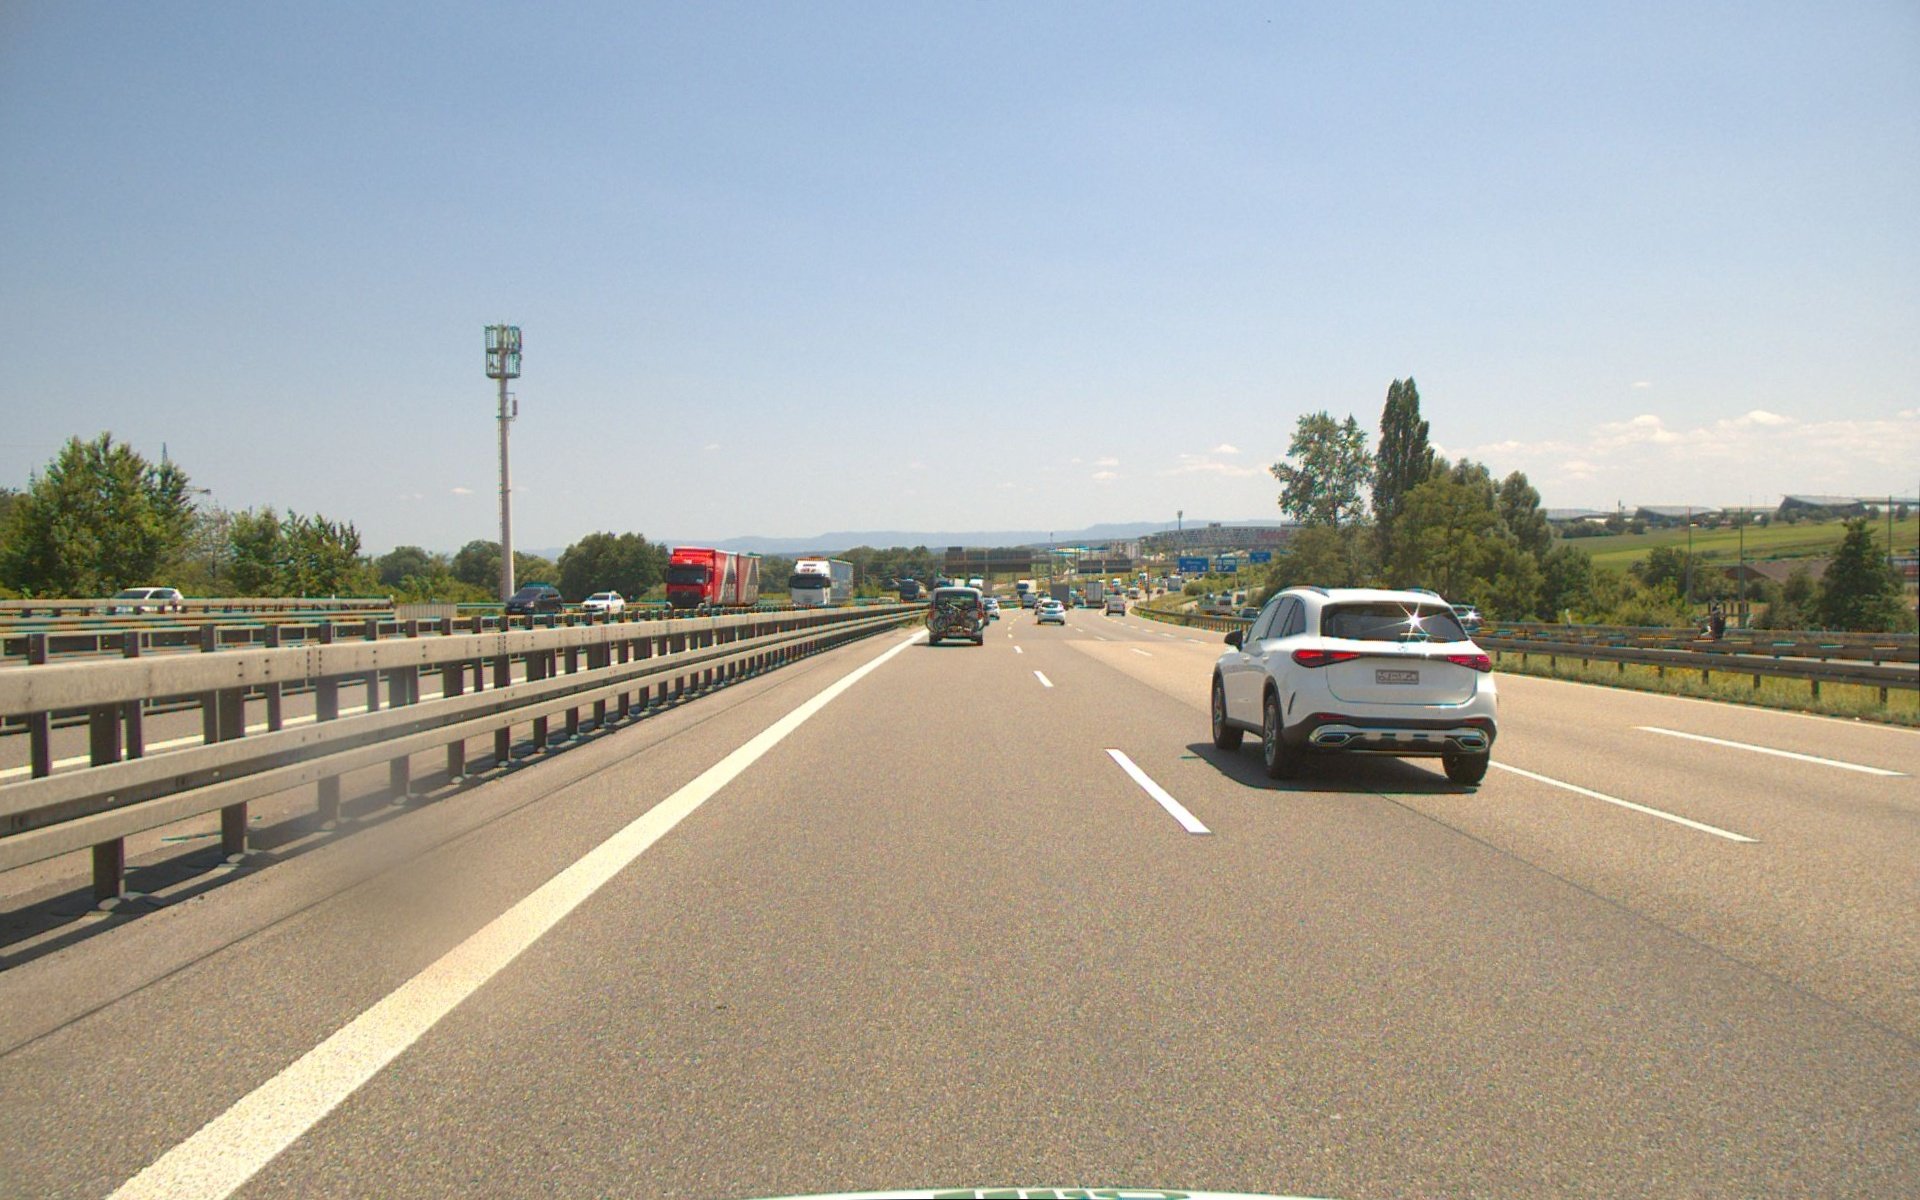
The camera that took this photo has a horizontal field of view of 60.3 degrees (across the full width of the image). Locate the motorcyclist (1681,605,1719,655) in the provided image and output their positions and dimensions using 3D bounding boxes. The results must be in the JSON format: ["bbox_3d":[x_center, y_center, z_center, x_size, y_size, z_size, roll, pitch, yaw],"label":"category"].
[{"bbox_3d":[20.966,0.841,46.888,0.655,1.390,0.878,1,0,-2],"label":"motorcyclist"}]

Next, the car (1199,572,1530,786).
[{"bbox_3d":[3.605,0.639,15.745,1.859,1.676,4.998,1,0,-1],"label":"car"}]

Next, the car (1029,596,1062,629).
[{"bbox_3d":[5.255,0.767,102.466,1.887,1.952,4.518,1,0,1],"label":"car"}]

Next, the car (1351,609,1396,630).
[{"bbox_3d":[25.986,1.213,104.047,1.666,1.299,3.997,1,0,-3],"label":"car"}]

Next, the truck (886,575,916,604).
[{"bbox_3d":[-8.286,-1.483,233.909,3.152,3.852,12.905,1,0,2],"label":"truck"}]

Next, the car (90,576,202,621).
[{"bbox_3d":[-31.882,-0.050,64.933,1.829,1.646,4.392,1,0,6],"label":"car"}]

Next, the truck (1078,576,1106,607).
[{"bbox_3d":[20.451,-1.431,256.653,3.954,4.335,11.765,1,2,3],"label":"truck"}]

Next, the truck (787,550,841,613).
[{"bbox_3d":[-10.659,-1.309,121.099,2.866,4.420,6.918,1,0,3],"label":"truck"}]

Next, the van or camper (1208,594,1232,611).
[{"bbox_3d":[33.246,0.351,211.464,2.476,2.049,4.462,1,0,3],"label":"van or camper"}]

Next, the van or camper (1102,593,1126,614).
[{"bbox_3d":[15.440,0.320,165.640,2.111,2.049,4.305,1,0,2],"label":"van or camper"}]

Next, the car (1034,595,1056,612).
[{"bbox_3d":[7.928,0.334,154.385,1.940,1.499,4.002,1,0,3],"label":"car"}]

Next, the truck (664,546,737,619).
[{"bbox_3d":[-15.709,-1.034,100.956,2.529,4.187,10.349,1,0,1],"label":"truck"}]

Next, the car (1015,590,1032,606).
[{"bbox_3d":[8.524,-0.251,221.034,2.140,2.038,4.002,1,0,4],"label":"car"}]

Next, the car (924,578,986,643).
[{"bbox_3d":[-0.167,0.326,53.530,1.887,1.952,4.948,1,0,0],"label":"car"}]

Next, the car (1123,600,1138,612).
[{"bbox_3d":[25.220,0.821,244.675,1.952,1.720,4.000,1,0,1],"label":"car"}]

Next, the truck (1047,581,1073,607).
[{"bbox_3d":[13.088,-0.760,215.617,2.645,3.163,10.667,1,0,7],"label":"truck"}]

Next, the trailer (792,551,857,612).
[{"bbox_3d":[-10.320,-1.324,127.639,2.884,4.418,14.626,1,0,3],"label":"trailer"}]

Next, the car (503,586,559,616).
[{"bbox_3d":[-24.141,0.064,93.143,1.971,1.608,4.001,1,0,1],"label":"car"}]

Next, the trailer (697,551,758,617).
[{"bbox_3d":[-15.446,-1.000,110.456,2.506,4.177,8.717,1,0,2],"label":"trailer"}]

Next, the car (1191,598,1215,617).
[{"bbox_3d":[26.697,0.837,181.549,1.953,2.049,3.999,1,0,-1],"label":"car"}]

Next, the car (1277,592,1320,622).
[{"bbox_3d":[22.884,0.478,111.953,1.900,1.957,4.177,1,0,-2],"label":"car"}]

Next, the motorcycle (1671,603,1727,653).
[{"bbox_3d":[20.965,0.779,46.957,0.744,1.390,1.869,1,0,0],"label":"motorcycle"}]

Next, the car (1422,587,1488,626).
[{"bbox_3d":[21.459,0.273,71.858,1.664,1.602,4.128,1,0,0],"label":"car"}]

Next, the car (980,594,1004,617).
[{"bbox_3d":[2.353,0.407,119.923,1.543,1.579,3.966,1,0,4],"label":"car"}]

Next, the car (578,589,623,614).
[{"bbox_3d":[-24.567,0.091,113.215,2.048,1.608,4.001,1,0,3],"label":"car"}]
